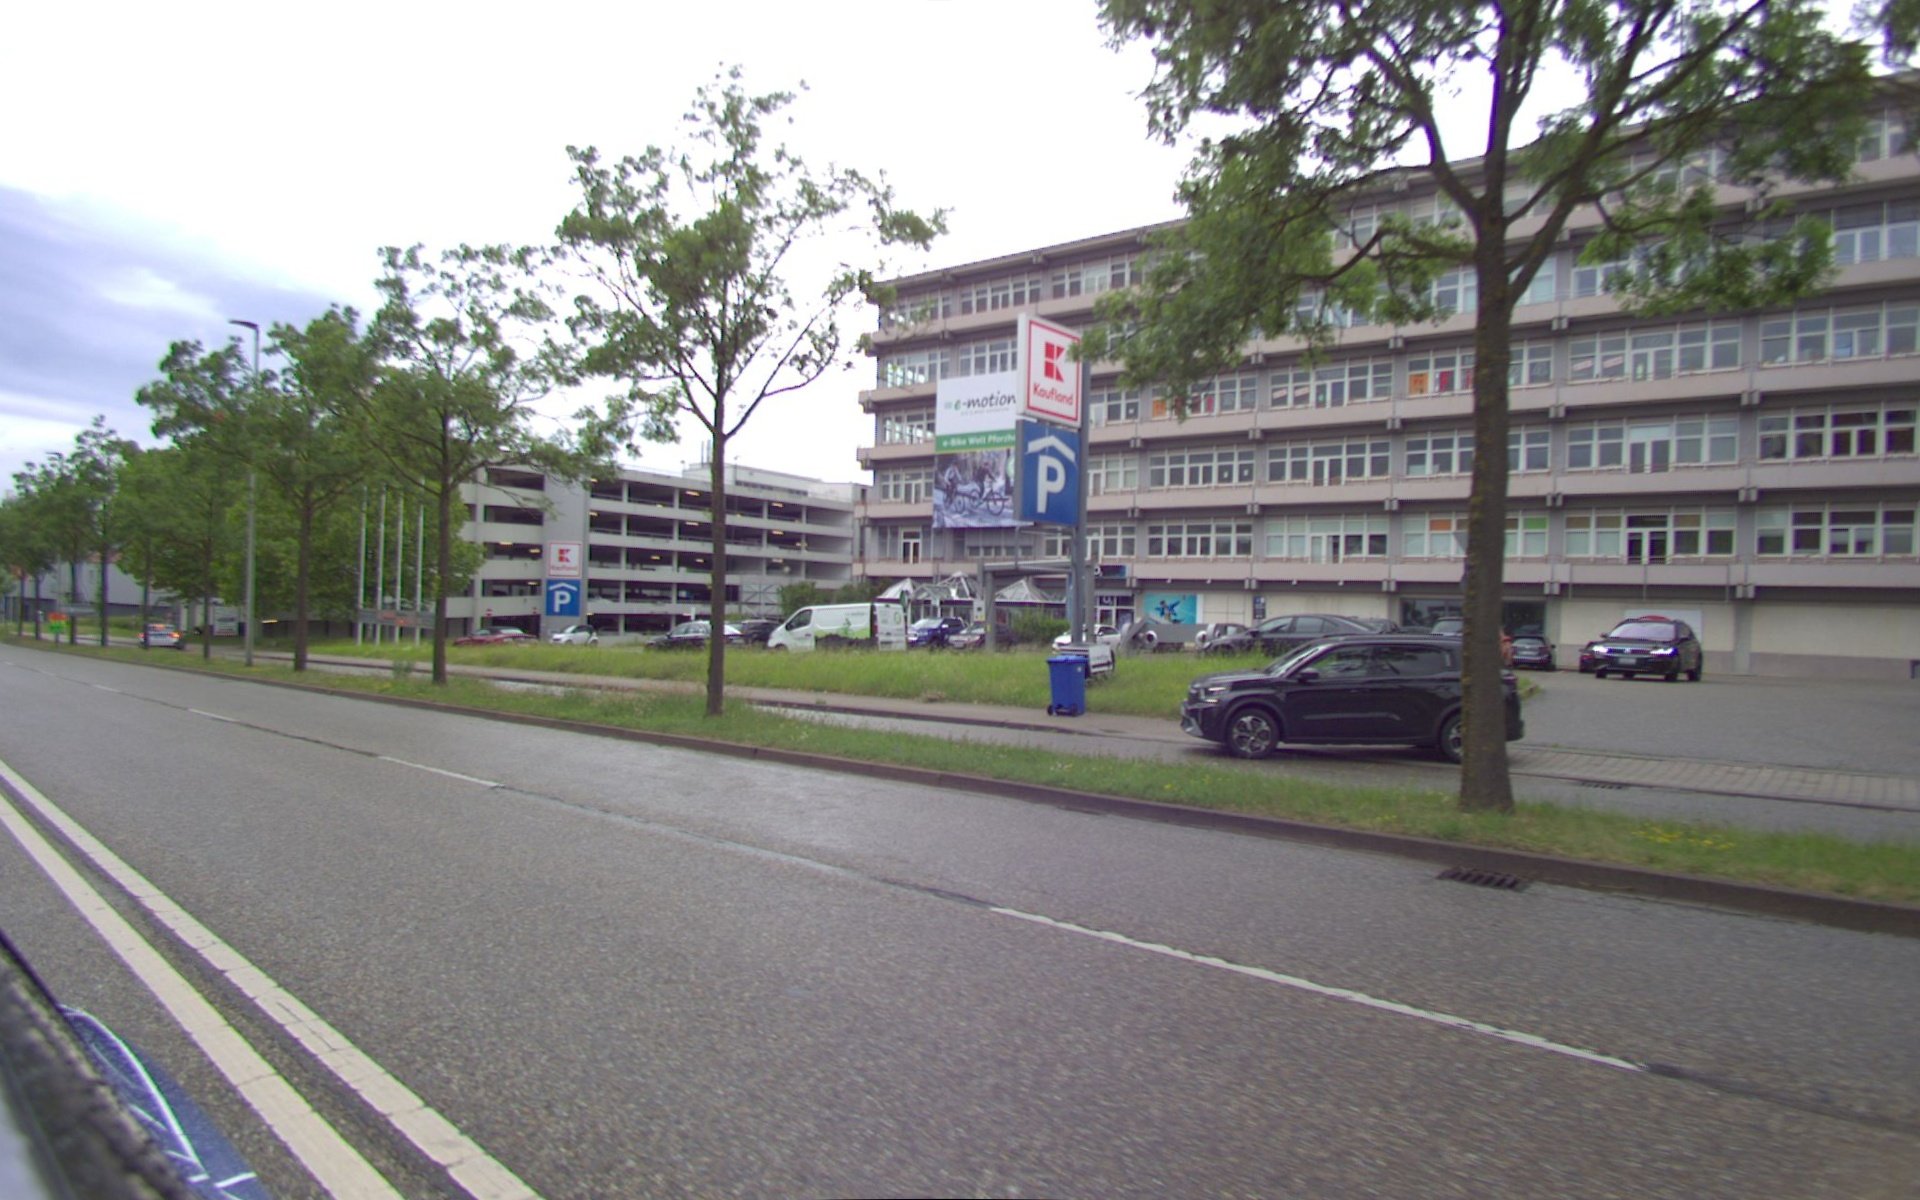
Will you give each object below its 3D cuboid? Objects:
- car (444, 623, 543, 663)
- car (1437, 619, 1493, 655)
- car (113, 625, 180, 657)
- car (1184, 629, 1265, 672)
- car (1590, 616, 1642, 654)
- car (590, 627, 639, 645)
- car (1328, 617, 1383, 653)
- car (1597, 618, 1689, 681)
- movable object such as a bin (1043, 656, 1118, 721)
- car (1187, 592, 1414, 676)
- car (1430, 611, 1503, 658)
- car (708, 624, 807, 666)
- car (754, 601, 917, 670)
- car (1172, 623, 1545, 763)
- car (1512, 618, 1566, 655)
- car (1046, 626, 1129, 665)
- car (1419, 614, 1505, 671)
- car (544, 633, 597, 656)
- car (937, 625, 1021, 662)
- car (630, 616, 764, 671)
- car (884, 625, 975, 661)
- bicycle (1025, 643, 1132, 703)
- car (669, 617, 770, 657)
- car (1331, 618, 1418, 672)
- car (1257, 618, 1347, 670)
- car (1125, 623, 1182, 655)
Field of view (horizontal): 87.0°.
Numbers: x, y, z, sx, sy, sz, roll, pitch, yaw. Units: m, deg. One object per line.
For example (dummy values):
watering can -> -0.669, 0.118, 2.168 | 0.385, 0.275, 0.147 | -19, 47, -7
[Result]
car -> -20.457, 1.886, 44.322 | 4.701, 1.621, 1.916 | -3, -2, 36
car -> 23.527, 1.708, 47.082 | 1.795, 1.522, 3.954 | -2, -2, 34
car -> -42.827, 2.131, 53.252 | 4.572, 1.565, 1.847 | -1, -4, 41
car -> 10.406, 1.953, 39.668 | 1.842, 1.522, 4.242 | -2, -2, 32
car -> 28.558, 1.493, 44.034 | 1.795, 1.522, 3.954 | -2, -2, 34
car -> -30.832, 3.229, 90.386 | 3.787, 1.473, 1.754 | -1, 0, -3
car -> 20.443, 1.777, 52.219 | 1.795, 1.745, 3.954 | -2, -2, 34
car -> 18.401, 1.299, 27.419 | 1.895, 1.522, 4.158 | -2, -2, 32
movable object such as a bin -> 2.164, 1.561, 18.184 | 1.085, 1.087, 0.810 | -1, -3, 41
car -> 7.979, 0.808, 23.909 | 4.602, 1.787, 2.117 | -3, -2, 39
car -> 17.557, 1.163, 35.006 | 1.813, 1.522, 4.158 | -2, -2, 32
car -> -9.274, 2.060, 46.590 | 1.894, 1.759, 4.464 | -2, -2, 32
car -> -4.121, 1.188, 33.175 | 5.105, 2.112, 2.098 | -2, -2, 32
car -> 5.120, 1.195, 13.515 | 4.229, 1.695, 1.797 | -1, -1, 5
car -> 25.923, 1.601, 45.268 | 1.795, 1.522, 3.954 | -2, -2, 34
car -> 5.492, 1.918, 43.245 | 1.842, 1.522, 4.242 | -2, -2, 32
car -> 14.960, 1.223, 30.044 | 1.813, 1.522, 4.158 | -2, -2, 32
car -> -24.523, 2.809, 63.719 | 1.604, 1.376, 2.676 | -2, -4, 30
car -> 0.918, 1.973, 46.179 | 1.940, 1.522, 4.145 | -2, -2, 32
car -> -9.345, 1.534, 35.767 | 4.938, 1.775, 2.020 | -3, -2, 38
car -> -1.355, 1.988, 47.252 | 2.019, 1.522, 4.574 | -2, -2, 32
bicycle -> 2.409, 1.438, 20.422 | 1.094, 0.942, 2.053 | 0, 3, 45
car -> -11.354, 1.719, 48.060 | 1.961, 1.759, 4.563 | -2, -2, 32
car -> 13.017, 1.362, 31.645 | 1.813, 1.522, 4.077 | -2, -2, 32
car -> 11.181, 1.392, 32.920 | 1.813, 1.522, 4.077 | -2, -2, 32
car -> 10.880, 2.183, 56.715 | 1.794, 1.651, 3.956 | -2, -2, 32
